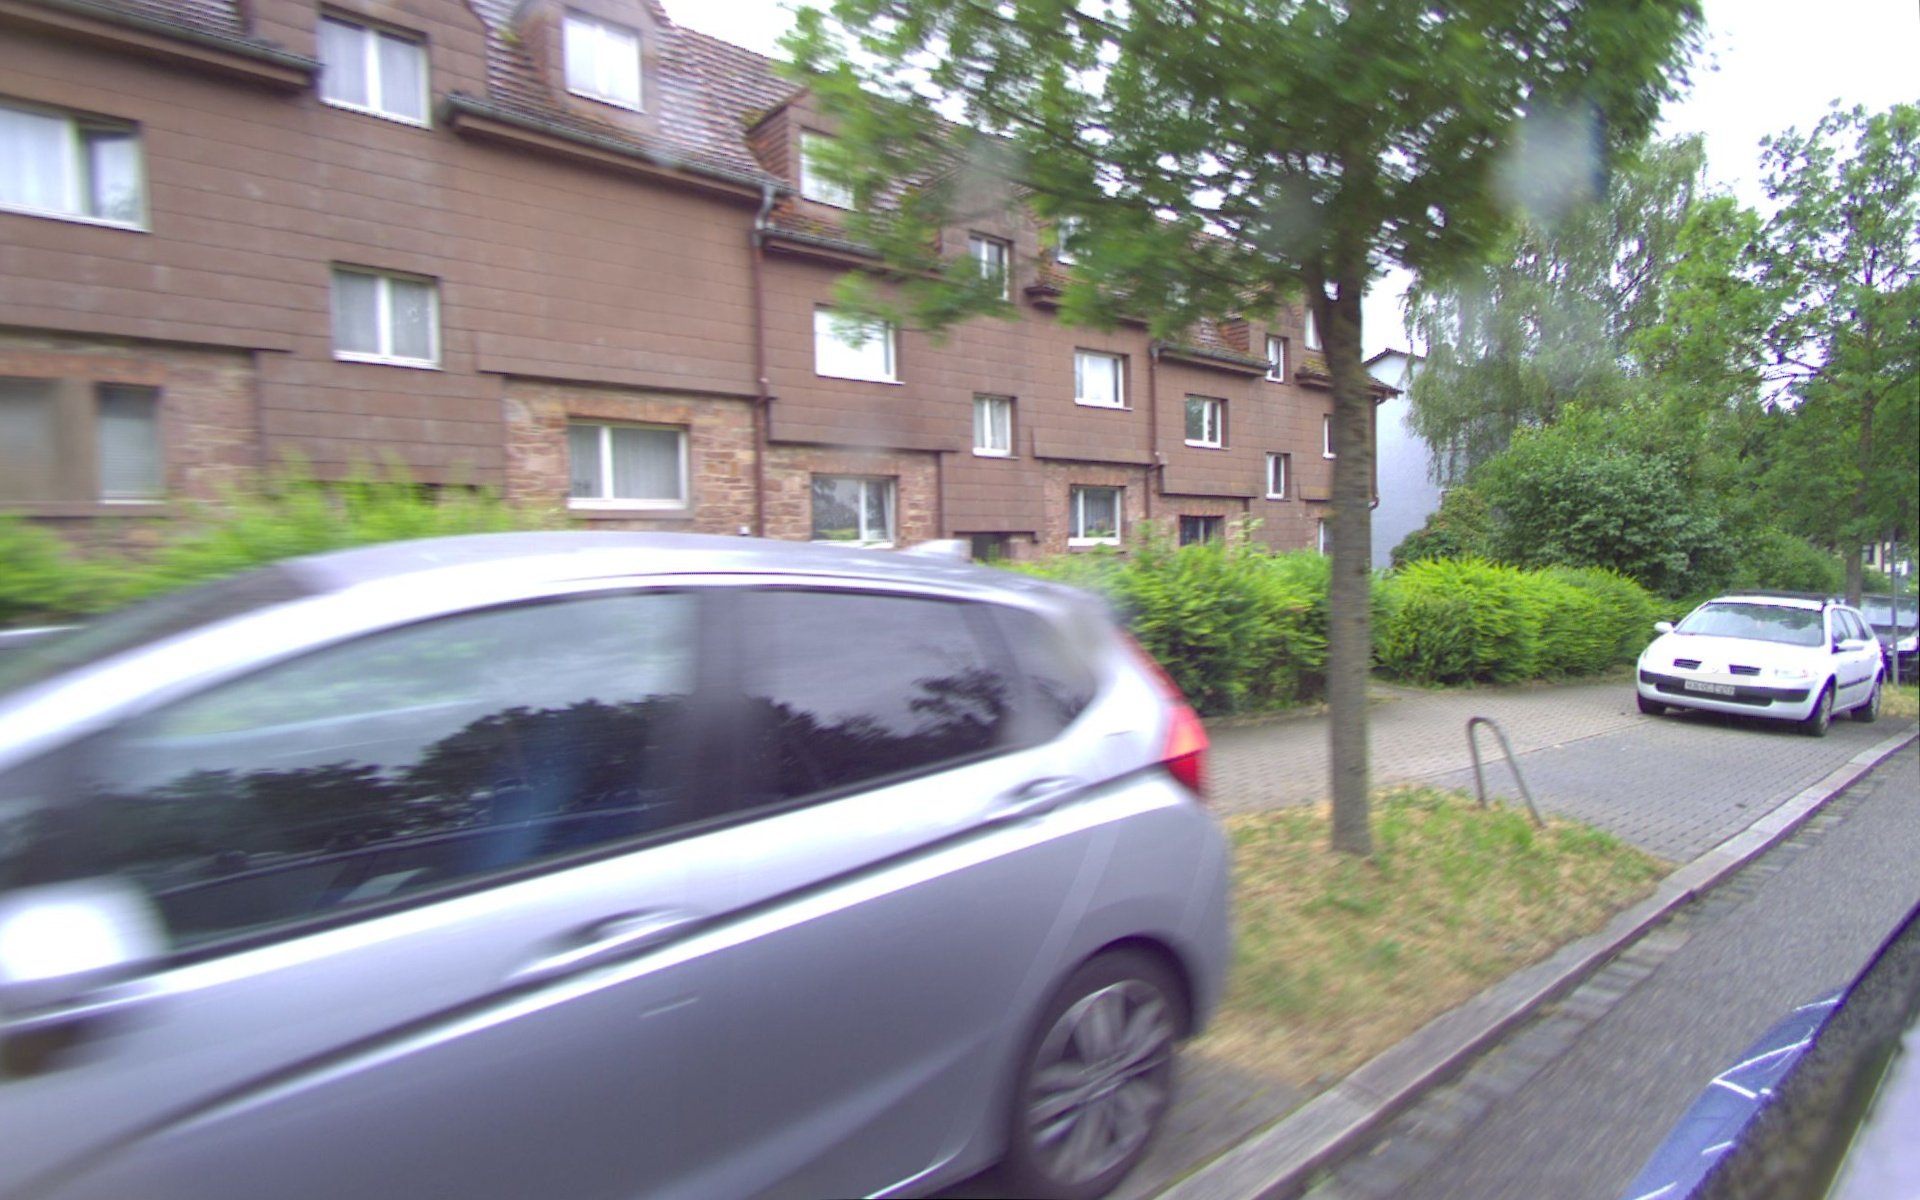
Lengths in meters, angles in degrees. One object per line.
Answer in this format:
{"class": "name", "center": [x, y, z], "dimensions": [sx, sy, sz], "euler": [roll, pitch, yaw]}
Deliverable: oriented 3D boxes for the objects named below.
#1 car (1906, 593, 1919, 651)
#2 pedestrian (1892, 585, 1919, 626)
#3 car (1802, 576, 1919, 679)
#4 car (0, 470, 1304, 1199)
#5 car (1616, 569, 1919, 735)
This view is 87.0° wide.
{"class": "car", "center": [27.321, 0.632, 27.780], "dimensions": [3.722, 1.530, 1.724], "euler": [1, 2, -44]}
{"class": "pedestrian", "center": [40.615, 0.231, 43.443], "dimensions": [0.641, 1.700, 0.710], "euler": [1, 2, -35]}
{"class": "car", "center": [17.779, 0.476, 19.353], "dimensions": [4.504, 1.698, 1.828], "euler": [0, 3, -41]}
{"class": "car", "center": [-1.110, 0.560, 2.207], "dimensions": [3.762, 1.546, 1.674], "euler": [0, 4, -38]}
{"class": "car", "center": [9.908, 0.517, 12.309], "dimensions": [4.391, 1.622, 1.830], "euler": [0, 3, -38]}
